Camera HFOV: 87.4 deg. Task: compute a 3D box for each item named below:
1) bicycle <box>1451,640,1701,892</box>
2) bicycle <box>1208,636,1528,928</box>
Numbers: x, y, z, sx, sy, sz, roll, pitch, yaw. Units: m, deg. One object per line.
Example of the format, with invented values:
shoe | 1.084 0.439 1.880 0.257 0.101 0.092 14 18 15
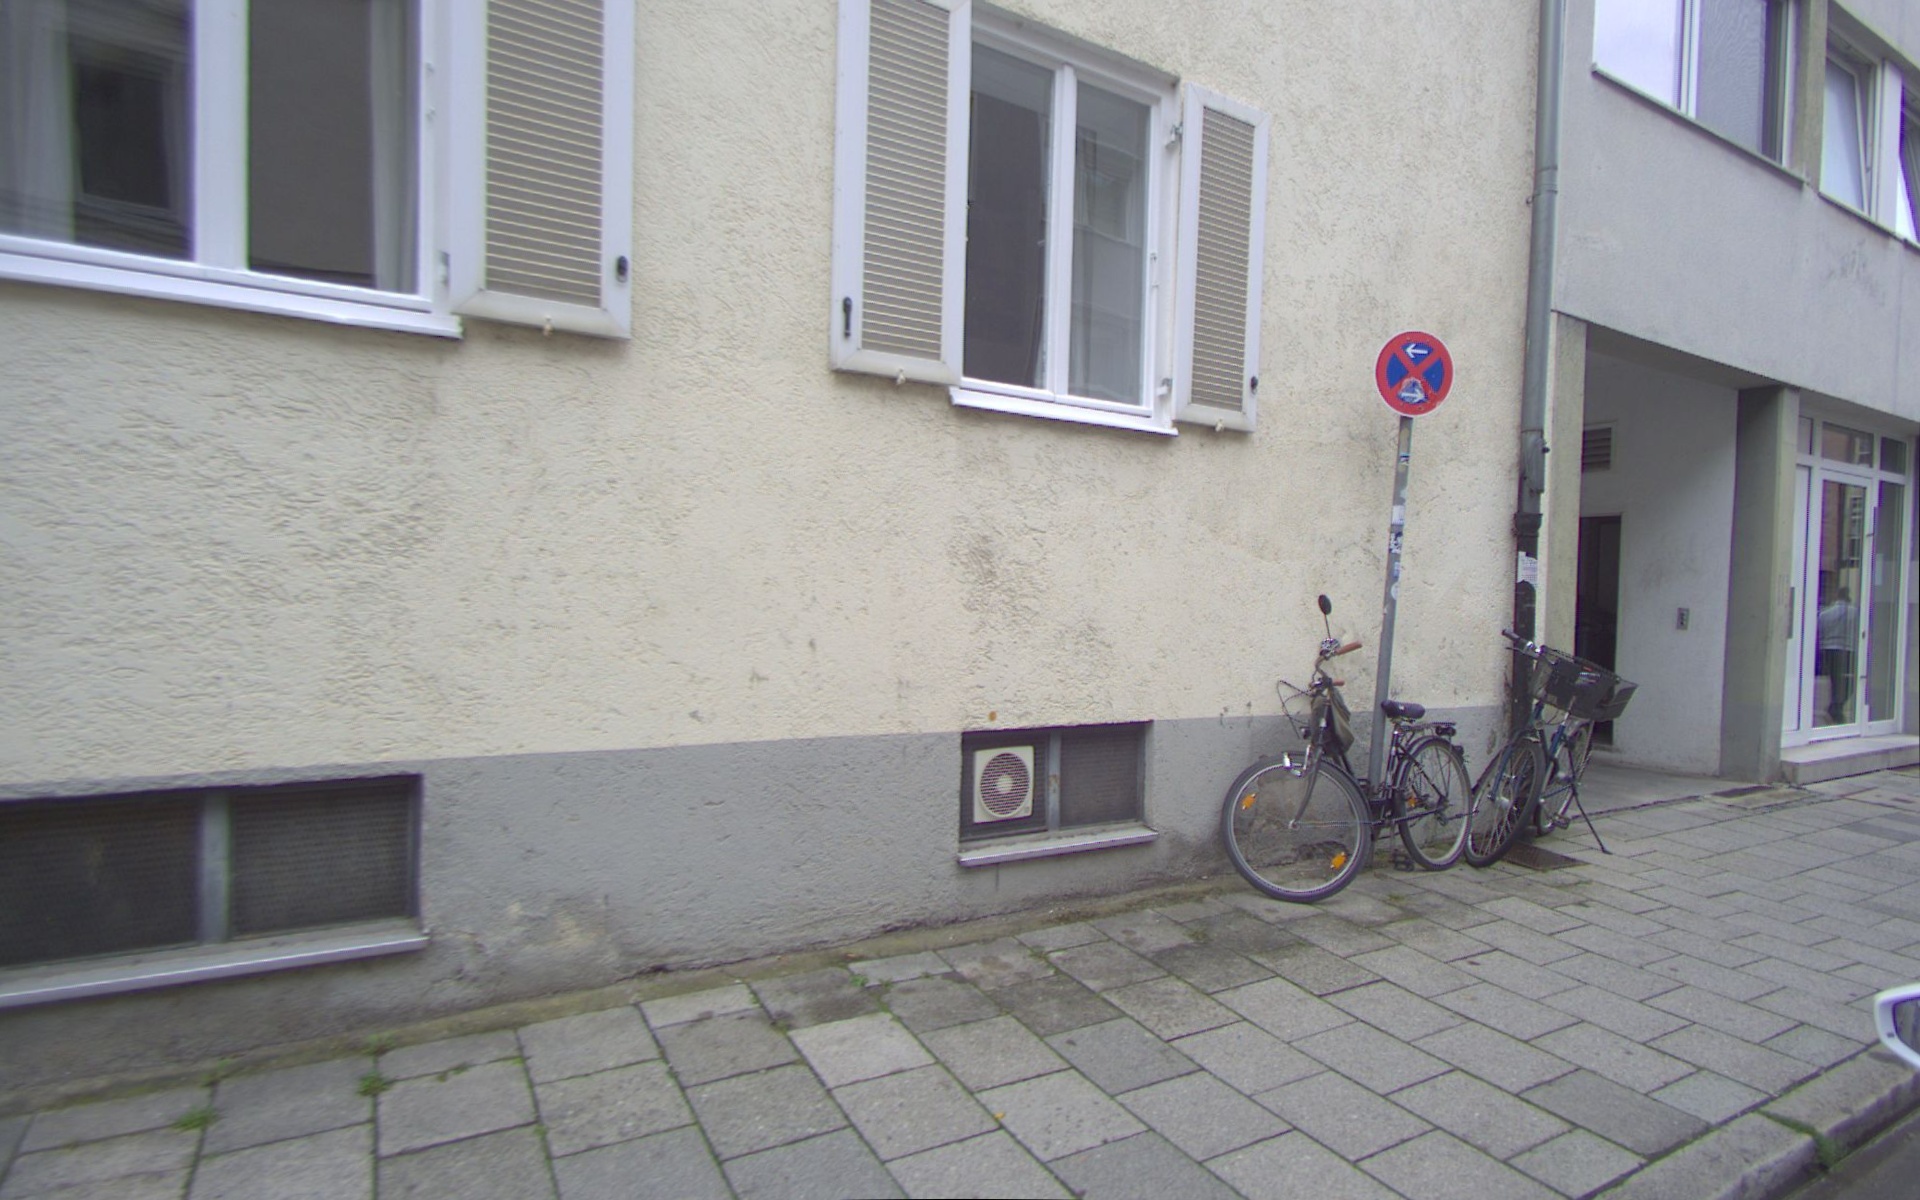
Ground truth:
bicycle | 3.436 0.826 5.545 1.705 1.175 0.557 2 1 -37
bicycle | 1.948 0.781 4.732 1.586 1.175 0.456 2 3 -30
